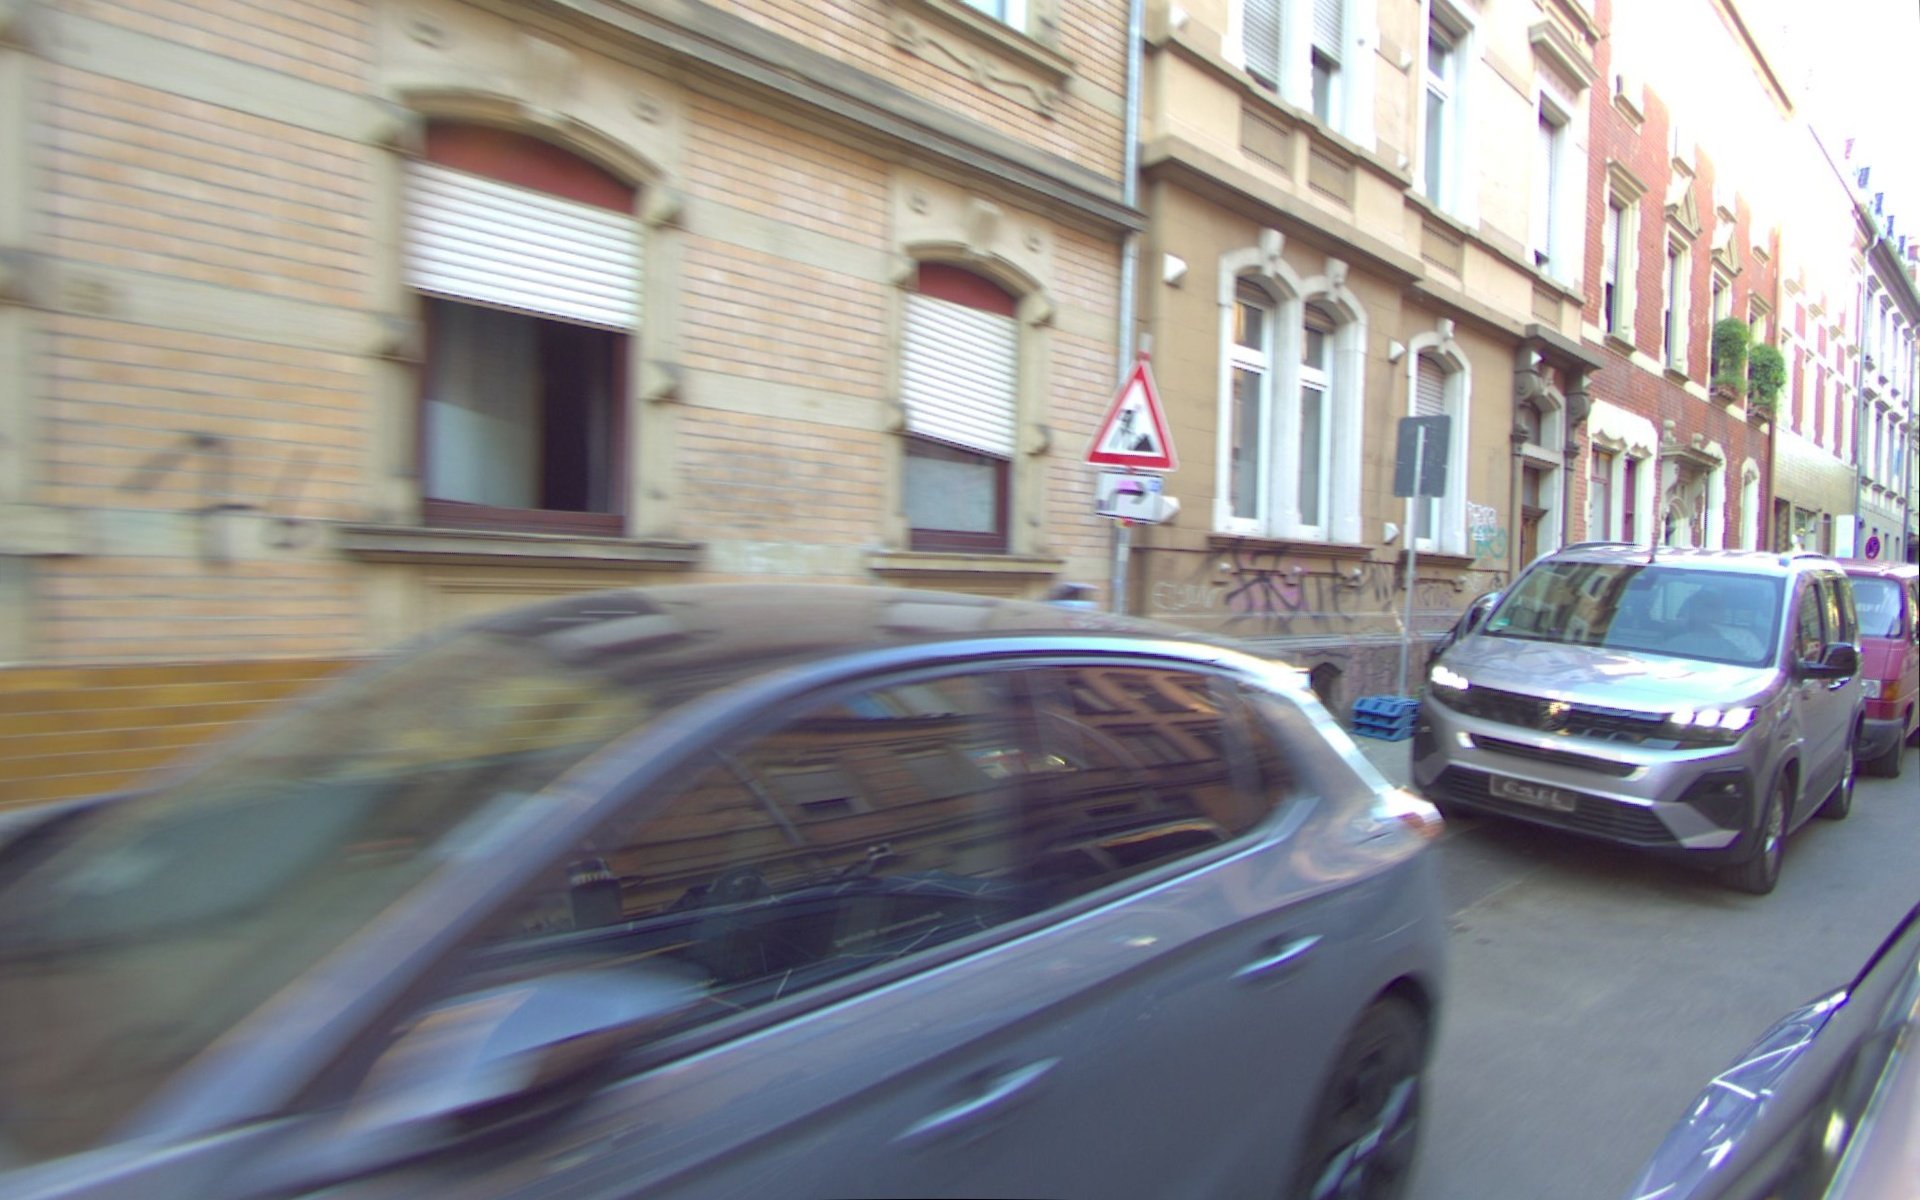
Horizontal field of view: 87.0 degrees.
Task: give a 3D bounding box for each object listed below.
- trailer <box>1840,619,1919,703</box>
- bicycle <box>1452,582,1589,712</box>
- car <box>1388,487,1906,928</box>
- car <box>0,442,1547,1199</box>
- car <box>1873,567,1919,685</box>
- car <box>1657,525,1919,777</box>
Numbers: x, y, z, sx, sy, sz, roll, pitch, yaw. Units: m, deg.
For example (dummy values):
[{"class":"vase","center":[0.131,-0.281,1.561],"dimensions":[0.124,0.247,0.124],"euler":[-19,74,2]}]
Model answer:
[{"class":"trailer","center":[14.461,0.877,15.231],"dimensions":[2.987,1.127,1.506],"euler":[0,-1,-43]},{"class":"bicycle","center":[6.400,0.496,11.526],"dimensions":[1.662,1.319,0.729],"euler":[0,5,-41]},{"class":"car","center":[4.661,0.471,6.605],"dimensions":[4.189,1.986,1.773],"euler":[0,0,-41]},{"class":"car","center":[-0.507,0.613,1.984],"dimensions":[3.819,1.497,1.670],"euler":[1,2,-41]},{"class":"car","center":[18.189,0.445,18.414],"dimensions":[4.496,2.009,1.848],"euler":[0,0,-41]},{"class":"car","center":[8.949,0.399,10.396],"dimensions":[4.658,2.039,1.835],"euler":[0,0,-41]}]
